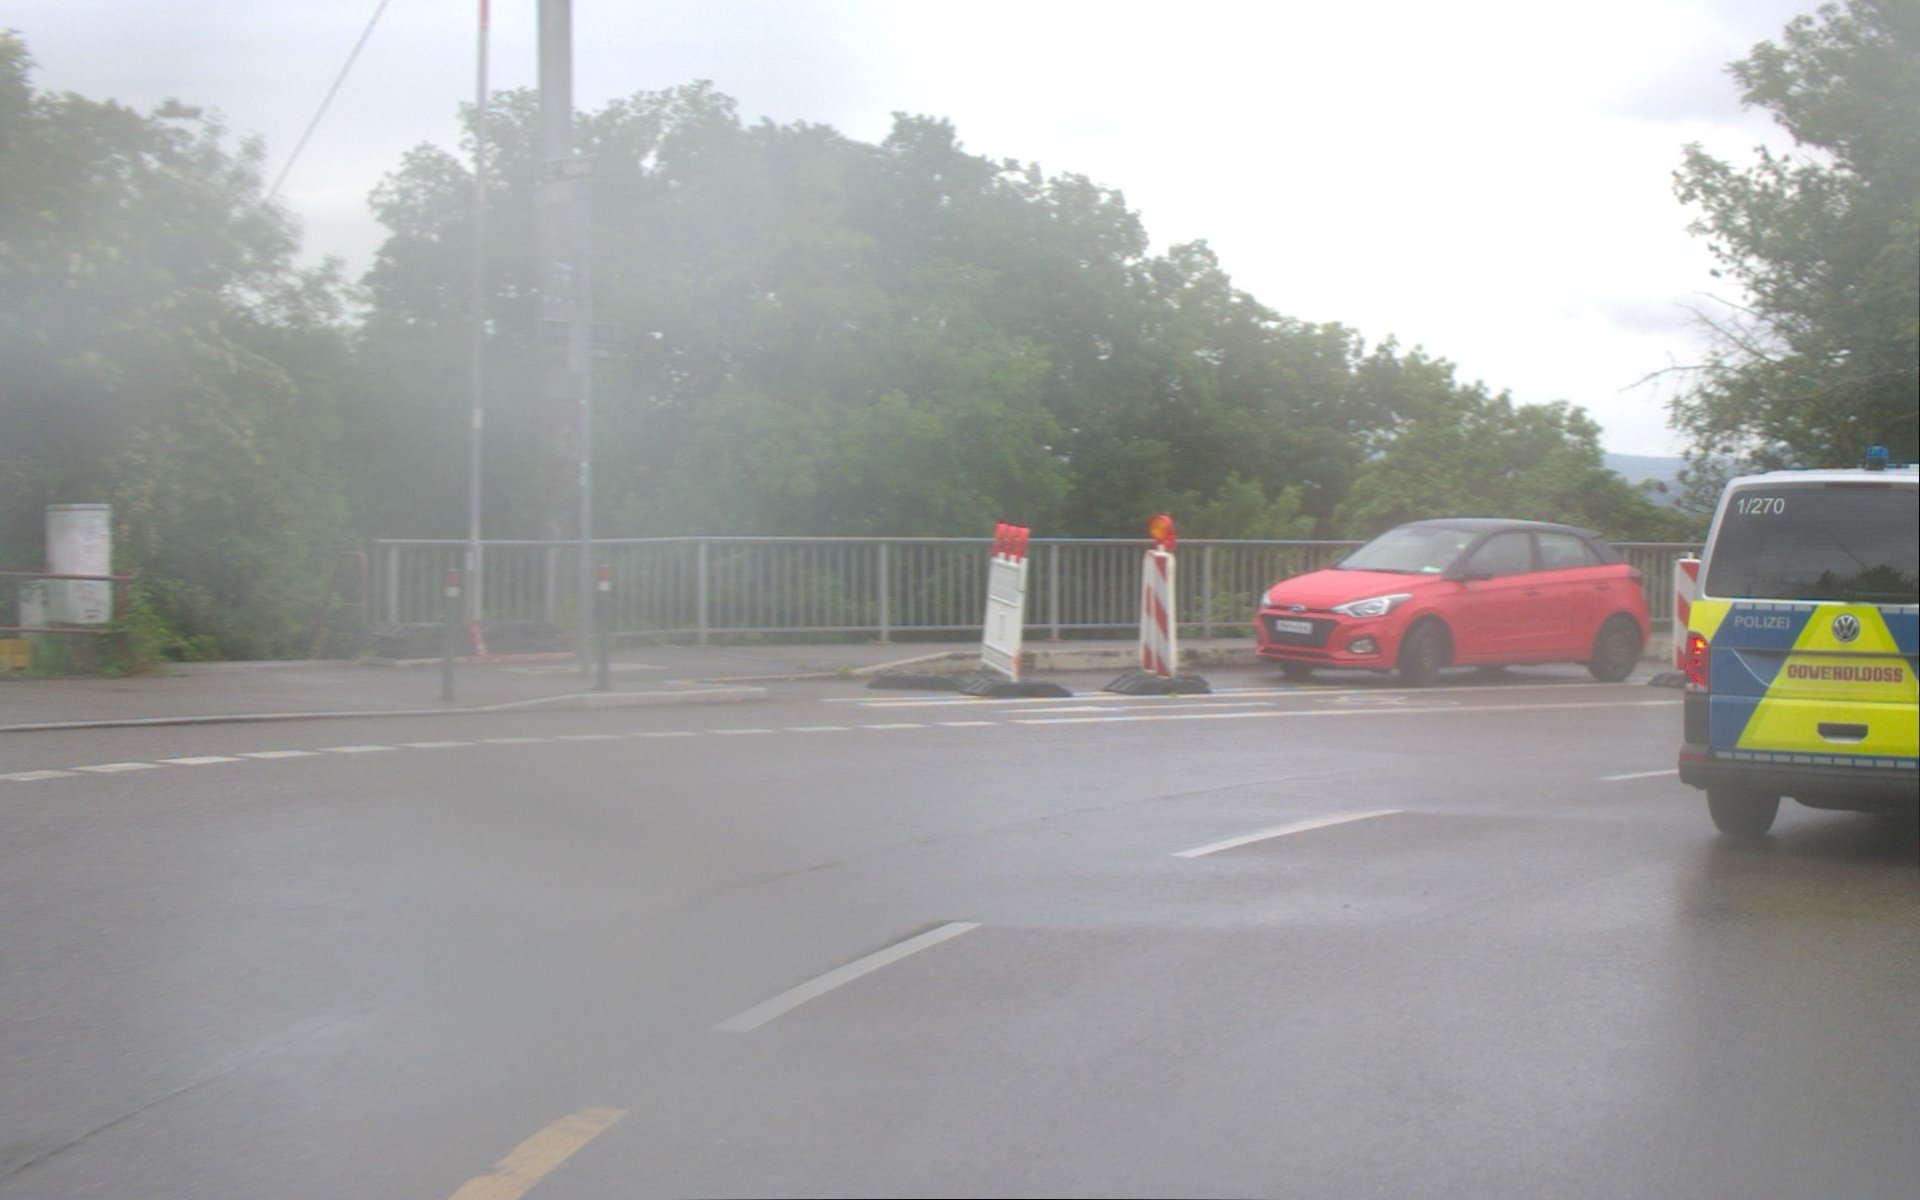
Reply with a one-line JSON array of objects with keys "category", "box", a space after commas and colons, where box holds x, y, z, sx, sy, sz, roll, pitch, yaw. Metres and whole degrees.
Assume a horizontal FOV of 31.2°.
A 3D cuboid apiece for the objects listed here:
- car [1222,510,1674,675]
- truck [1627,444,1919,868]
[{"category": "car", "box": [4.523, -0.058, 31.573, 4.124, 1.393, 1.690, 1, 2, -38]}, {"category": "truck", "box": [5.451, 0.255, 18.705, 1.997, 2.007, 4.726, 3, 1, 31]}]
